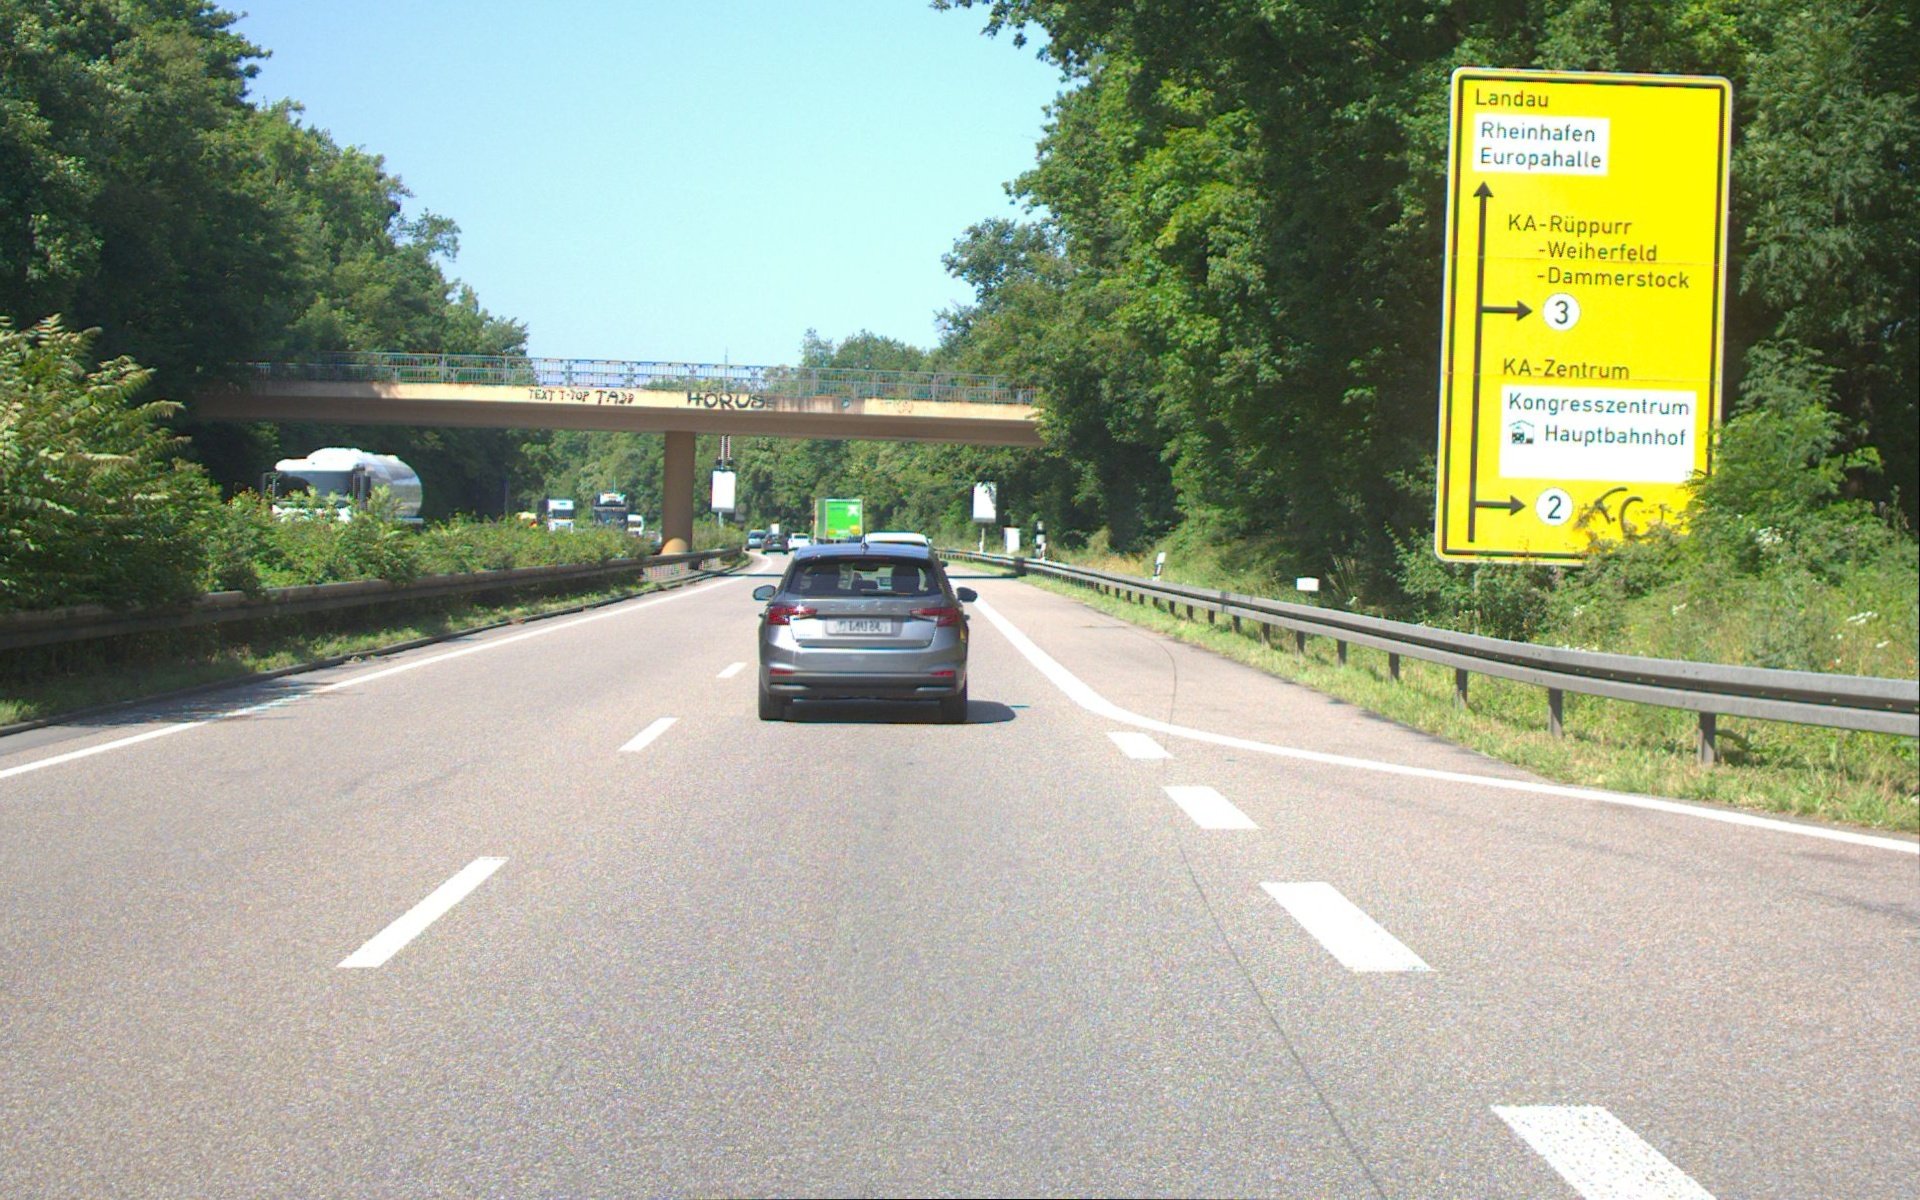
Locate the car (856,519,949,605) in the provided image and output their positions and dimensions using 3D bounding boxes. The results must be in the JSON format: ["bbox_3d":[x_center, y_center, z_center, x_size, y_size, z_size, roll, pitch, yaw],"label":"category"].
[{"bbox_3d":[-0.997,-0.696,61.149,1.522,1.441,3.340,1,1,1],"label":"car"}]

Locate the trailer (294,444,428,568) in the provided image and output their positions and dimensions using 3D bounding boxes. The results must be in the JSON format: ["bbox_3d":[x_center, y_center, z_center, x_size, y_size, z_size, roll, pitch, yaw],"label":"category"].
[{"bbox_3d":[-17.381,-2.686,100.441,1.993,3.390,11.420,1,1,-1],"label":"trailer"}]

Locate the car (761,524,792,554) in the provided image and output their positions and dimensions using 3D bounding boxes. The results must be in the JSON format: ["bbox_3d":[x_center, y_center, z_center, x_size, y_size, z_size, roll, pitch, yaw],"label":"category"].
[{"bbox_3d":[-12.881,-4.284,241.190,1.993,2.007,4.000,1,1,-1],"label":"car"}]

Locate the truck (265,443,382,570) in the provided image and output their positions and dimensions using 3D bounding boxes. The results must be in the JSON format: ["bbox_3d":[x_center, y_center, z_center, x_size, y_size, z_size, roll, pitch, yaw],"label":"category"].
[{"bbox_3d":[-17.318,-2.519,93.747,2.338,3.330,4.542,1,1,-1],"label":"truck"}]

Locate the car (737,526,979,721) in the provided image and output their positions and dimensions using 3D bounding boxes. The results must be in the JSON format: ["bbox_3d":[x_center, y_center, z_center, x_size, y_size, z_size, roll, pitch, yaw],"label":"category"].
[{"bbox_3d":[-0.790,0.145,28.687,1.840,1.467,3.623,1,1,1],"label":"car"}]

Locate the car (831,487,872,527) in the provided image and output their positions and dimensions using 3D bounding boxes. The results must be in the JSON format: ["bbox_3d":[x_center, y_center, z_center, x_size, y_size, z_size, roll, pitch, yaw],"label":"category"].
[{"bbox_3d":[-7.545,-6.449,238.727,2.748,2.645,4.000,1,1,-1],"label":"car"}]
